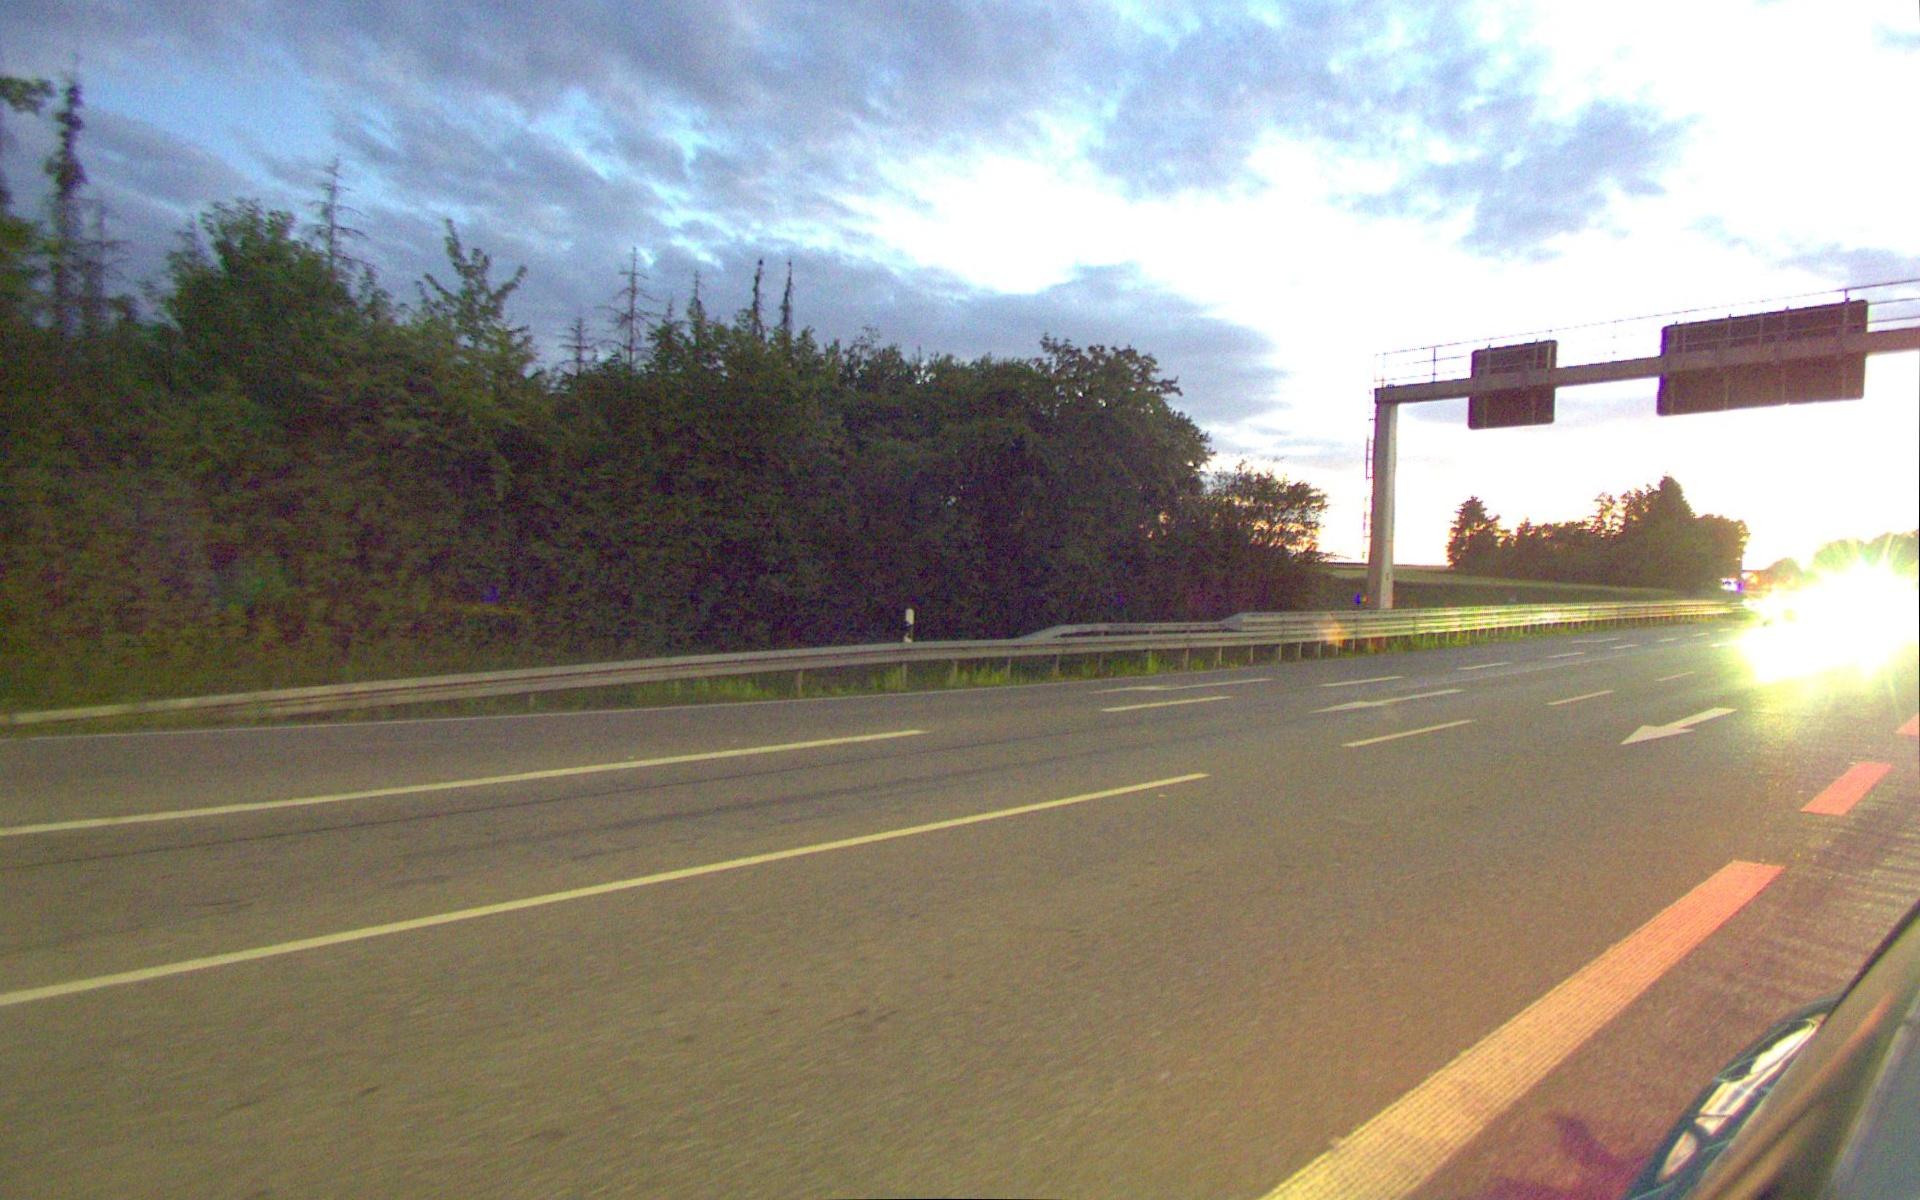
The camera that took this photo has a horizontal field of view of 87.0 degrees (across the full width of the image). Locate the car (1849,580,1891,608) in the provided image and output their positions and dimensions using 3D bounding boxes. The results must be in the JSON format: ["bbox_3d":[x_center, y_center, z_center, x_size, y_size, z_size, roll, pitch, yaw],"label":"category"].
[{"bbox_3d":[60.601,-0.379,67.463,1.824,1.772,3.796,-1,-1,39],"label":"car"}]

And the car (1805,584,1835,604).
[{"bbox_3d":[74.933,-0.516,88.213,1.848,1.642,3.943,1,0,39],"label":"car"}]

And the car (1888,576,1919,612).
[{"bbox_3d":[54.318,-0.362,57.809,1.857,2.039,3.938,-1,0,43],"label":"car"}]

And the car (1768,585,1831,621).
[{"bbox_3d":[38.951,0.103,46.945,1.993,1.604,3.937,-1,0,44],"label":"car"}]
